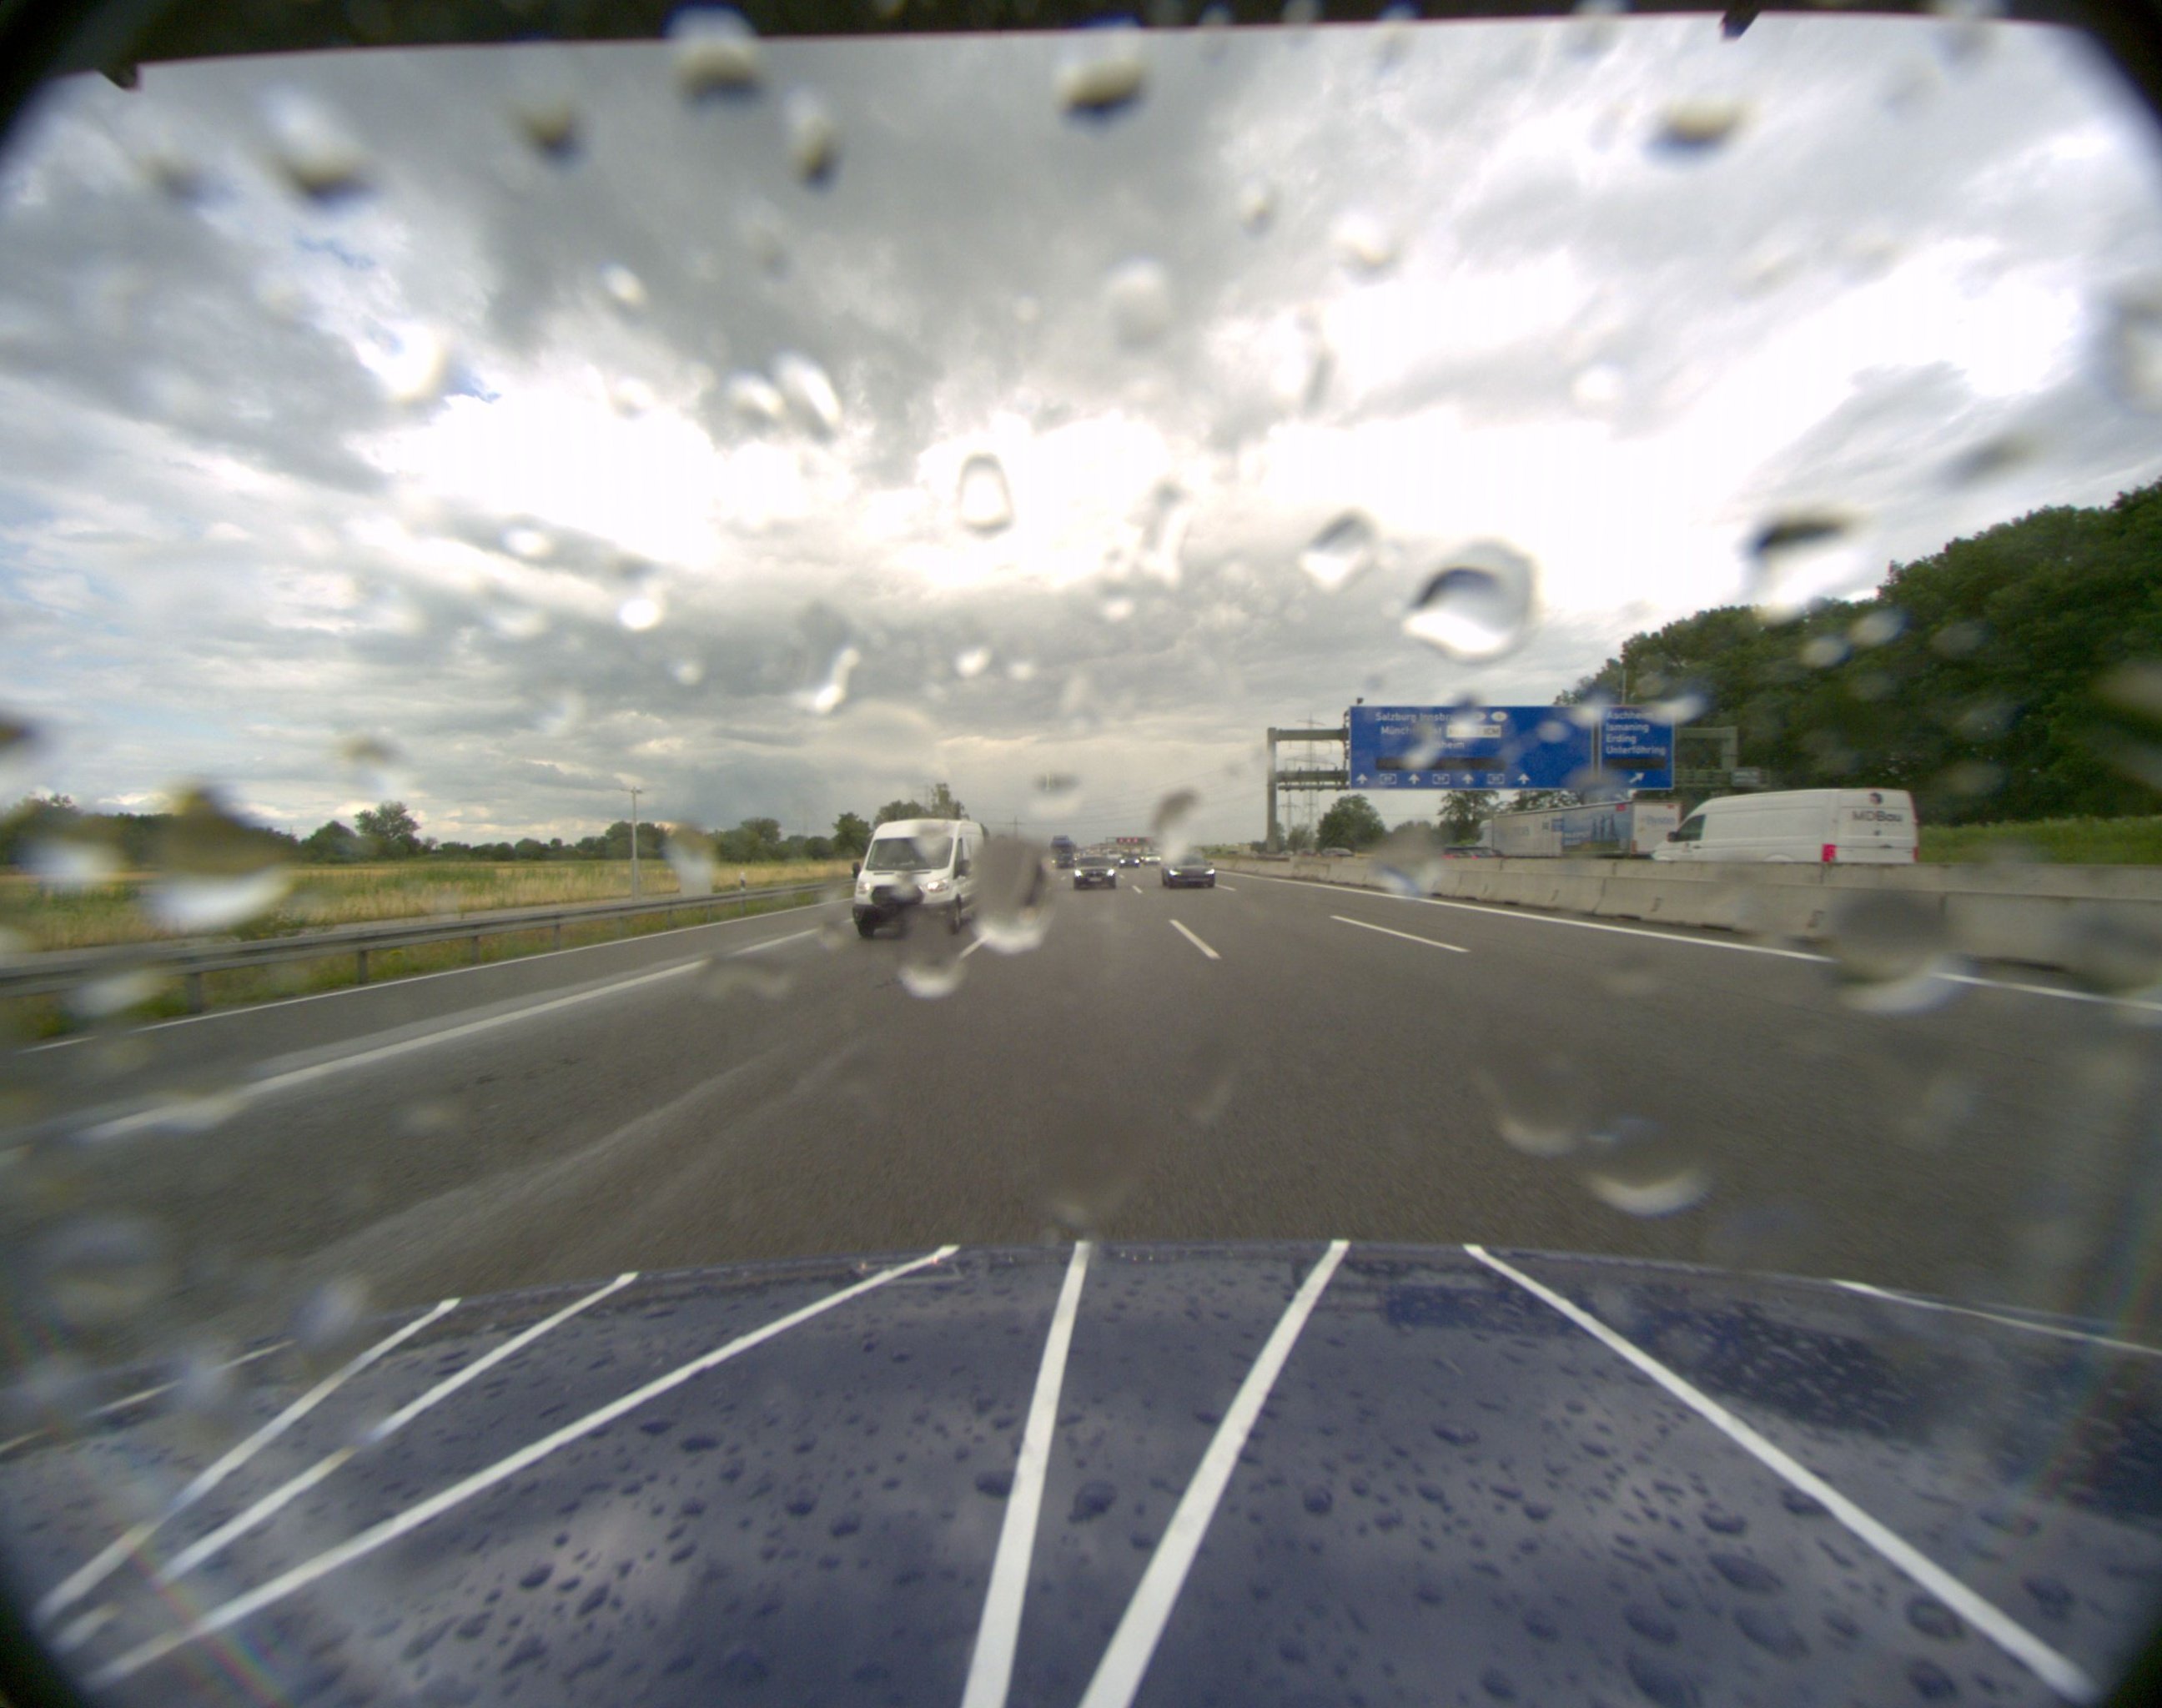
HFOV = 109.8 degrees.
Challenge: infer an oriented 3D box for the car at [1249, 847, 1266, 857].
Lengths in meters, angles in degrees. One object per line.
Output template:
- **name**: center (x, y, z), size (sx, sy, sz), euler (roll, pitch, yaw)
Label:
- **car**: center (31.639, -0.428, 136.181), size (1.786, 1.687, 4.351), euler (-1, 0, -2)

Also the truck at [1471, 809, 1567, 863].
- **truck**: center (30.233, -1.189, 52.822), size (3.143, 3.487, 6.100), euler (-1, 1, 0)

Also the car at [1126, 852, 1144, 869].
- **car**: center (5.360, 0.625, 75.708), size (1.710, 1.562, 4.347), euler (-1, 0, 4)

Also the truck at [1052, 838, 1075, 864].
- **truck**: center (-1.869, -0.315, 83.513), size (2.391, 2.726, 6.593), euler (-1, 1, 0)

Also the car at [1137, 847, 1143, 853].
- **car**: center (20.150, -1.337, 258.804), size (1.824, 2.112, 3.999), euler (-1, 1, 0)

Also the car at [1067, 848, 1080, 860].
- **car**: center (-1.274, -0.029, 129.044), size (1.999, 2.002, 5.050), euler (-1, 1, 0)

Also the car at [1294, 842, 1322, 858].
- **car**: center (25.947, -0.478, 86.942), size (1.998, 1.717, 4.017), euler (-1, 1, 0)

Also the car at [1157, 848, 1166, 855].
- **car**: center (24.983, -0.827, 236.199), size (2.078, 1.959, 4.952), euler (-1, 1, 0)

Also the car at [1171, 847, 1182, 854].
- **car**: center (22.234, -0.818, 176.828), size (1.824, 1.403, 3.999), euler (-1, 0, 0)

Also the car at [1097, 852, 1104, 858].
- **car**: center (5.858, 0.201, 223.896), size (1.998, 1.801, 4.273), euler (-1, 0, 1)

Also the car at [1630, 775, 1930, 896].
- **car**: center (17.601, -0.434, 19.804), size (1.998, 2.601, 6.342), euler (-1, 1, 0)

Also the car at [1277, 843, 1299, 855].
- **car**: center (27.095, -0.616, 99.623), size (1.758, 1.489, 4.017), euler (-1, 0, 0)

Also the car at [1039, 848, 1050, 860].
- **car**: center (-6.349, -0.005, 132.579), size (1.836, 2.002, 3.862), euler (-1, 1, 0)

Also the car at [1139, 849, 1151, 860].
- **car**: center (9.693, 0.076, 115.472), size (1.710, 1.621, 4.001), euler (-1, 1, 4)

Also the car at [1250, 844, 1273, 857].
- **car**: center (23.491, -0.465, 99.077), size (1.998, 1.717, 4.017), euler (-1, 1, 0)

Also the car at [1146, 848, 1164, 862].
- **car**: center (8.931, 0.100, 92.239), size (1.822, 1.565, 4.000), euler (-1, 0, 1)

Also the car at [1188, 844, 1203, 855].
- **car**: center (19.125, -0.734, 127.101), size (1.786, 1.687, 4.501), euler (-1, 0, -2)

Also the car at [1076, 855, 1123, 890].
- **car**: center (0.818, 0.751, 33.298), size (1.922, 1.407, 4.000), euler (-1, 0, 1)

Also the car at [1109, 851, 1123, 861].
- **car**: center (5.216, 0.348, 114.274), size (1.806, 1.424, 3.999), euler (-1, 0, 0)

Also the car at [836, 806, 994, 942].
- **car**: center (-3.425, 0.353, 16.927), size (2.145, 2.486, 5.448), euler (-1, 1, 1)

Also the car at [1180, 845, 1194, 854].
- **car**: center (19.776, -0.816, 141.723), size (1.786, 1.603, 4.351), euler (-1, 0, -2)

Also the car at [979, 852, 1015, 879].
- **car**: center (-5.429, 0.696, 49.719), size (1.999, 1.632, 4.629), euler (-1, 0, -2)

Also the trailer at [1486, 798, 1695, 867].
- **trailer**: center (30.150, -1.173, 46.437), size (3.117, 3.487, 14.451), euler (-1, 0, 0)

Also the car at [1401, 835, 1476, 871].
- **car**: center (17.524, -0.045, 37.438), size (1.873, 1.648, 4.000), euler (-1, 1, 1)

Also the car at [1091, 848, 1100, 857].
- **car**: center (3.217, -0.345, 168.340), size (1.998, 1.810, 5.163), euler (-1, 0, 2)

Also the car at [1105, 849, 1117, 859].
- **car**: center (5.627, 0.012, 143.809), size (1.998, 1.810, 5.162), euler (-1, 0, 1)

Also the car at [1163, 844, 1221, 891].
- **car**: center (4.637, 0.511, 32.538), size (1.998, 1.810, 5.163), euler (-1, 0, 4)

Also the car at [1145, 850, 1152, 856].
- **car**: center (20.285, -0.235, 229.274), size (1.824, 1.721, 3.999), euler (-1, 1, 0)

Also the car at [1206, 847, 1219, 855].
- **car**: center (23.267, -0.547, 134.088), size (1.639, 1.403, 3.755), euler (-1, 0, 0)

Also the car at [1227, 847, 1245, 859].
- **car**: center (23.817, -0.199, 116.678), size (1.998, 1.717, 4.017), euler (-1, 1, 1)

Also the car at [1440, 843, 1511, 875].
- **car**: center (22.556, 0.268, 43.666), size (1.998, 1.717, 4.017), euler (-1, 1, 0)

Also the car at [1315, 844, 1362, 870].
- **car**: center (18.478, 0.176, 54.623), size (1.998, 1.717, 4.017), euler (-1, 1, 0)
